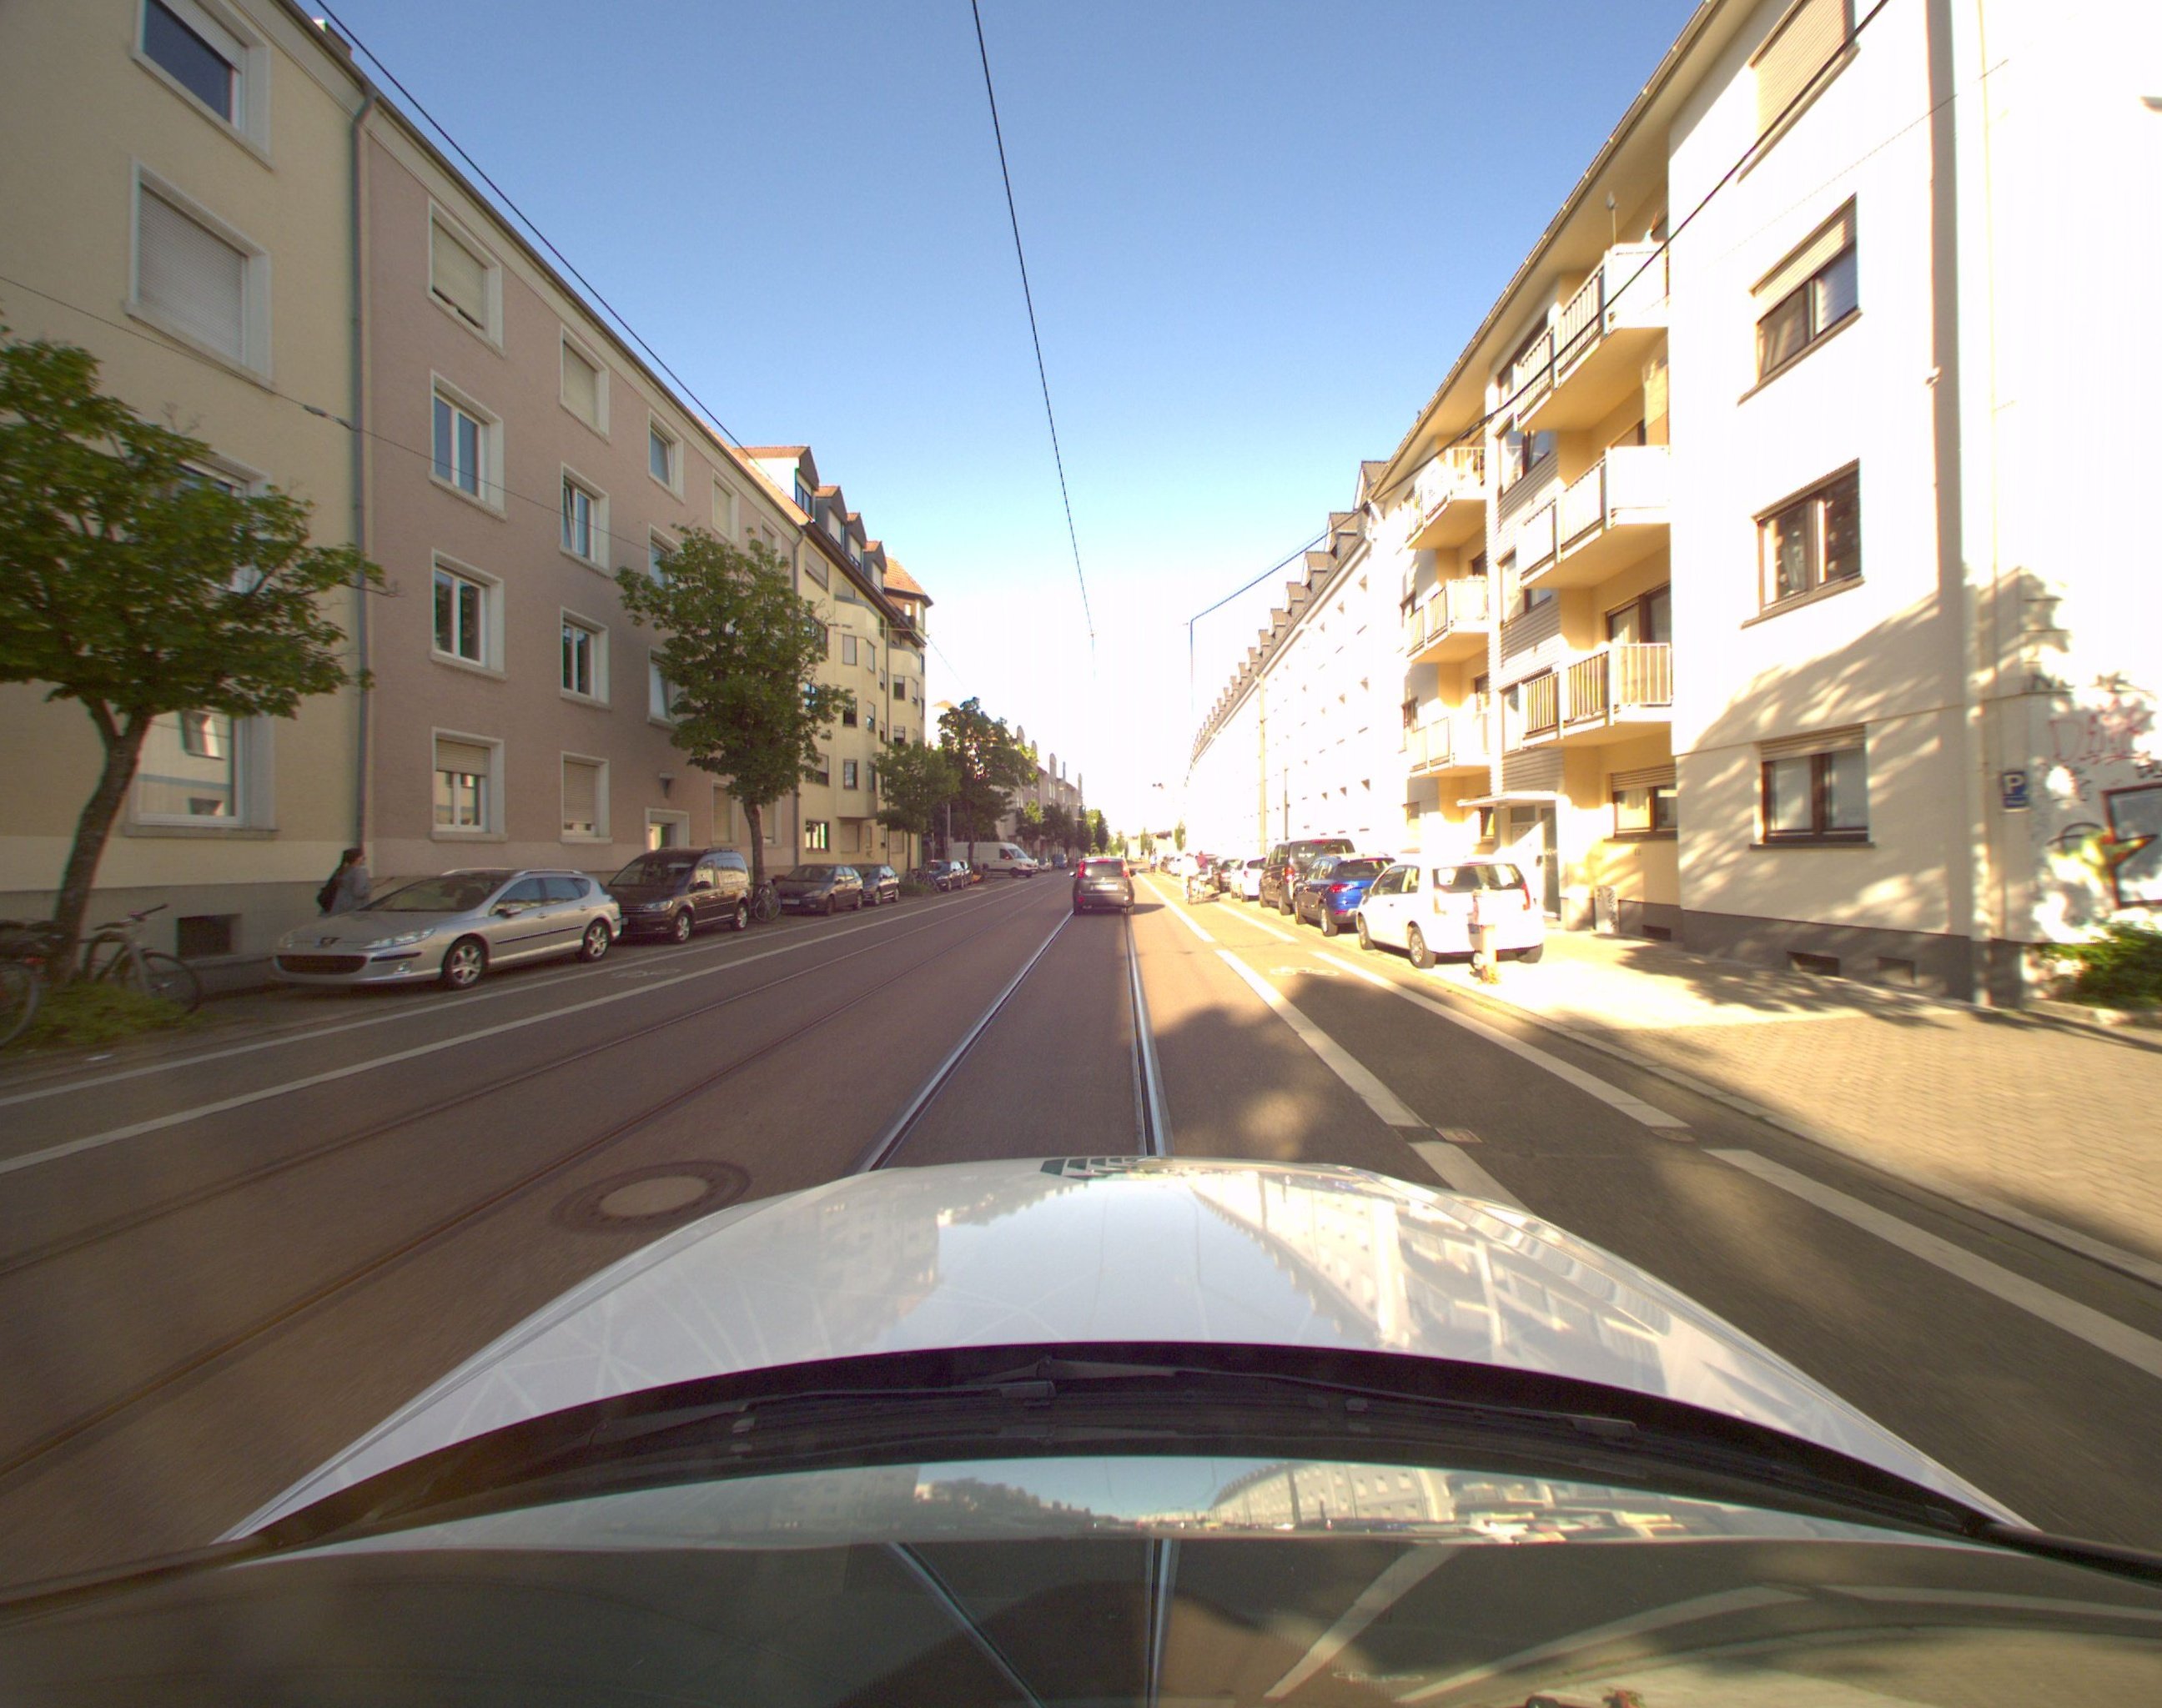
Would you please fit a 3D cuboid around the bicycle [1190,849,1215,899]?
[{"bbox_3d":[4.449,0.711,29.944,0.672,1.747,2.158,0,0,2],"label":"bicycle"}]

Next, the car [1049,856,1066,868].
[{"bbox_3d":[-2.943,1.003,102.892,1.699,1.496,3.725,0,0,3],"label":"car"}]

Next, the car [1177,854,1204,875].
[{"bbox_3d":[7.614,0.725,56.802,1.577,1.405,3.378,1,0,2],"label":"car"}]

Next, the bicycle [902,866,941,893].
[{"bbox_3d":[-7.324,1.180,37.398,1.724,1.196,0.372,1,0,-2],"label":"bicycle"}]

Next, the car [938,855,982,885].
[{"bbox_3d":[-6.746,0.863,45.571,1.828,1.556,3.378,1,0,2],"label":"car"}]

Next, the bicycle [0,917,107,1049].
[{"bbox_3d":[-9.221,1.054,6.826,1.658,1.001,0.477,0,0,5],"label":"bicycle"}]

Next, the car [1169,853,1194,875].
[{"bbox_3d":[7.561,0.755,61.269,1.577,1.599,3.378,0,0,2],"label":"car"}]

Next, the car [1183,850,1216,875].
[{"bbox_3d":[7.035,0.508,48.432,1.577,1.405,3.378,1,0,2],"label":"car"}]

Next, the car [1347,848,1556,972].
[{"bbox_3d":[5.316,0.715,12.176,1.649,1.571,3.501,0,0,2],"label":"car"}]

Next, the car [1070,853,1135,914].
[{"bbox_3d":[0.682,0.737,22.680,1.643,1.541,4.239,0,0,4],"label":"car"}]

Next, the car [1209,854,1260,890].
[{"bbox_3d":[6.341,0.714,33.966,1.577,1.405,3.378,1,0,2],"label":"car"}]

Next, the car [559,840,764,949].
[{"bbox_3d":[-8.405,0.728,16.845,1.801,1.943,4.336,0,0,2],"label":"car"}]

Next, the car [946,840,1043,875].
[{"bbox_3d":[-6.280,0.245,58.845,6.838,2.403,2.189,0,0,26],"label":"car"}]

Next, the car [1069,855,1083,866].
[{"bbox_3d":[-0.687,0.912,118.696,1.699,1.496,3.725,0,0,3],"label":"car"}]

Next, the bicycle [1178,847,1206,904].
[{"bbox_3d":[3.573,0.670,26.415,0.672,1.747,2.158,0,0,2],"label":"bicycle"}]

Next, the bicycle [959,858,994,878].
[{"bbox_3d":[-6.967,0.946,54.388,2.270,1.288,0.757,1,0,-3],"label":"bicycle"}]

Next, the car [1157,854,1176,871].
[{"bbox_3d":[8.345,0.839,79.532,1.577,1.599,3.378,0,0,2],"label":"car"}]

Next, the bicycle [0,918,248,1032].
[{"bbox_3d":[-9.196,1.143,7.844,1.666,1.001,0.475,1,0,-9],"label":"bicycle"}]

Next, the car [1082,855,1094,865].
[{"bbox_3d":[1.184,0.929,130.519,1.699,1.496,3.725,0,0,3],"label":"car"}]

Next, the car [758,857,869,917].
[{"bbox_3d":[-7.878,0.903,24.397,1.801,1.619,4.067,0,0,2],"label":"car"}]

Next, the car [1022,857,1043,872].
[{"bbox_3d":[-4.944,1.046,84.116,1.699,1.496,3.725,0,0,3],"label":"car"}]

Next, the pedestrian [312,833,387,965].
[{"bbox_3d":[-10.323,0.619,11.507,0.534,1.826,0.543,0,0,2],"label":"pedestrian"}]

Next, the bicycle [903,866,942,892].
[{"bbox_3d":[-7.348,1.143,37.814,1.724,1.196,0.372,1,0,-2],"label":"bicycle"}]

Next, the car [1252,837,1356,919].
[{"bbox_3d":[5.829,0.584,21.817,1.649,1.944,4.667,0,0,2],"label":"car"}]

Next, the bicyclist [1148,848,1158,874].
[{"bbox_3d":[5.703,0.533,64.228,0.712,2.013,0.832,0,0,1],"label":"bicyclist"}]

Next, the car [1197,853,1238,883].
[{"bbox_3d":[7.096,0.684,42.582,1.577,1.405,3.378,-4,0,2],"label":"car"}]

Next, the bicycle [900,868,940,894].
[{"bbox_3d":[-7.292,1.224,37.001,1.724,1.196,0.372,1,0,-2],"label":"bicycle"}]

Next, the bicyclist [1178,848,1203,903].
[{"bbox_3d":[3.534,0.679,26.345,0.696,1.759,0.758,0,0,1],"label":"bicyclist"}]

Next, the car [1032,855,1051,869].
[{"bbox_3d":[-4.297,0.865,88.990,1.699,1.496,3.725,0,0,3],"label":"car"}]

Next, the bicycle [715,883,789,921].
[{"bbox_3d":[-8.310,1.209,20.608,1.627,0.937,0.517,1,0,-2],"label":"bicycle"}]

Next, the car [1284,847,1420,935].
[{"bbox_3d":[5.417,0.672,16.764,1.649,1.571,3.878,0,0,2],"label":"car"}]

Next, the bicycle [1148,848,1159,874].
[{"bbox_3d":[5.695,0.561,64.226,0.739,2.013,2.813,0,0,2],"label":"bicycle"}]

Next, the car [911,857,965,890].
[{"bbox_3d":[-6.980,0.917,40.223,1.828,1.556,4.002,1,0,2],"label":"car"}]

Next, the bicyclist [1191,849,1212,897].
[{"bbox_3d":[4.436,0.687,30.018,0.696,1.759,0.758,0,0,1],"label":"bicyclist"}]

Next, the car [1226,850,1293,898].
[{"bbox_3d":[5.920,0.643,27.272,1.649,1.500,3.131,0,0,2],"label":"car"}]

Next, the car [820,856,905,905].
[{"bbox_3d":[-7.788,0.897,29.421,1.801,1.619,4.067,0,0,2],"label":"car"}]

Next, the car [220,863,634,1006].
[{"bbox_3d":[-8.482,0.905,11.298,1.801,1.508,4.684,0,0,3],"label":"car"}]

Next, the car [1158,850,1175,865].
[{"bbox_3d":[9.334,0.406,89.065,1.577,1.599,3.378,0,0,2],"label":"car"}]

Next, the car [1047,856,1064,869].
[{"bbox_3d":[-3.017,1.028,98.175,1.699,1.496,3.725,0,0,3],"label":"car"}]

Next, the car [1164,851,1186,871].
[{"bbox_3d":[7.914,0.563,69.072,1.577,1.599,3.378,0,0,2],"label":"car"}]
